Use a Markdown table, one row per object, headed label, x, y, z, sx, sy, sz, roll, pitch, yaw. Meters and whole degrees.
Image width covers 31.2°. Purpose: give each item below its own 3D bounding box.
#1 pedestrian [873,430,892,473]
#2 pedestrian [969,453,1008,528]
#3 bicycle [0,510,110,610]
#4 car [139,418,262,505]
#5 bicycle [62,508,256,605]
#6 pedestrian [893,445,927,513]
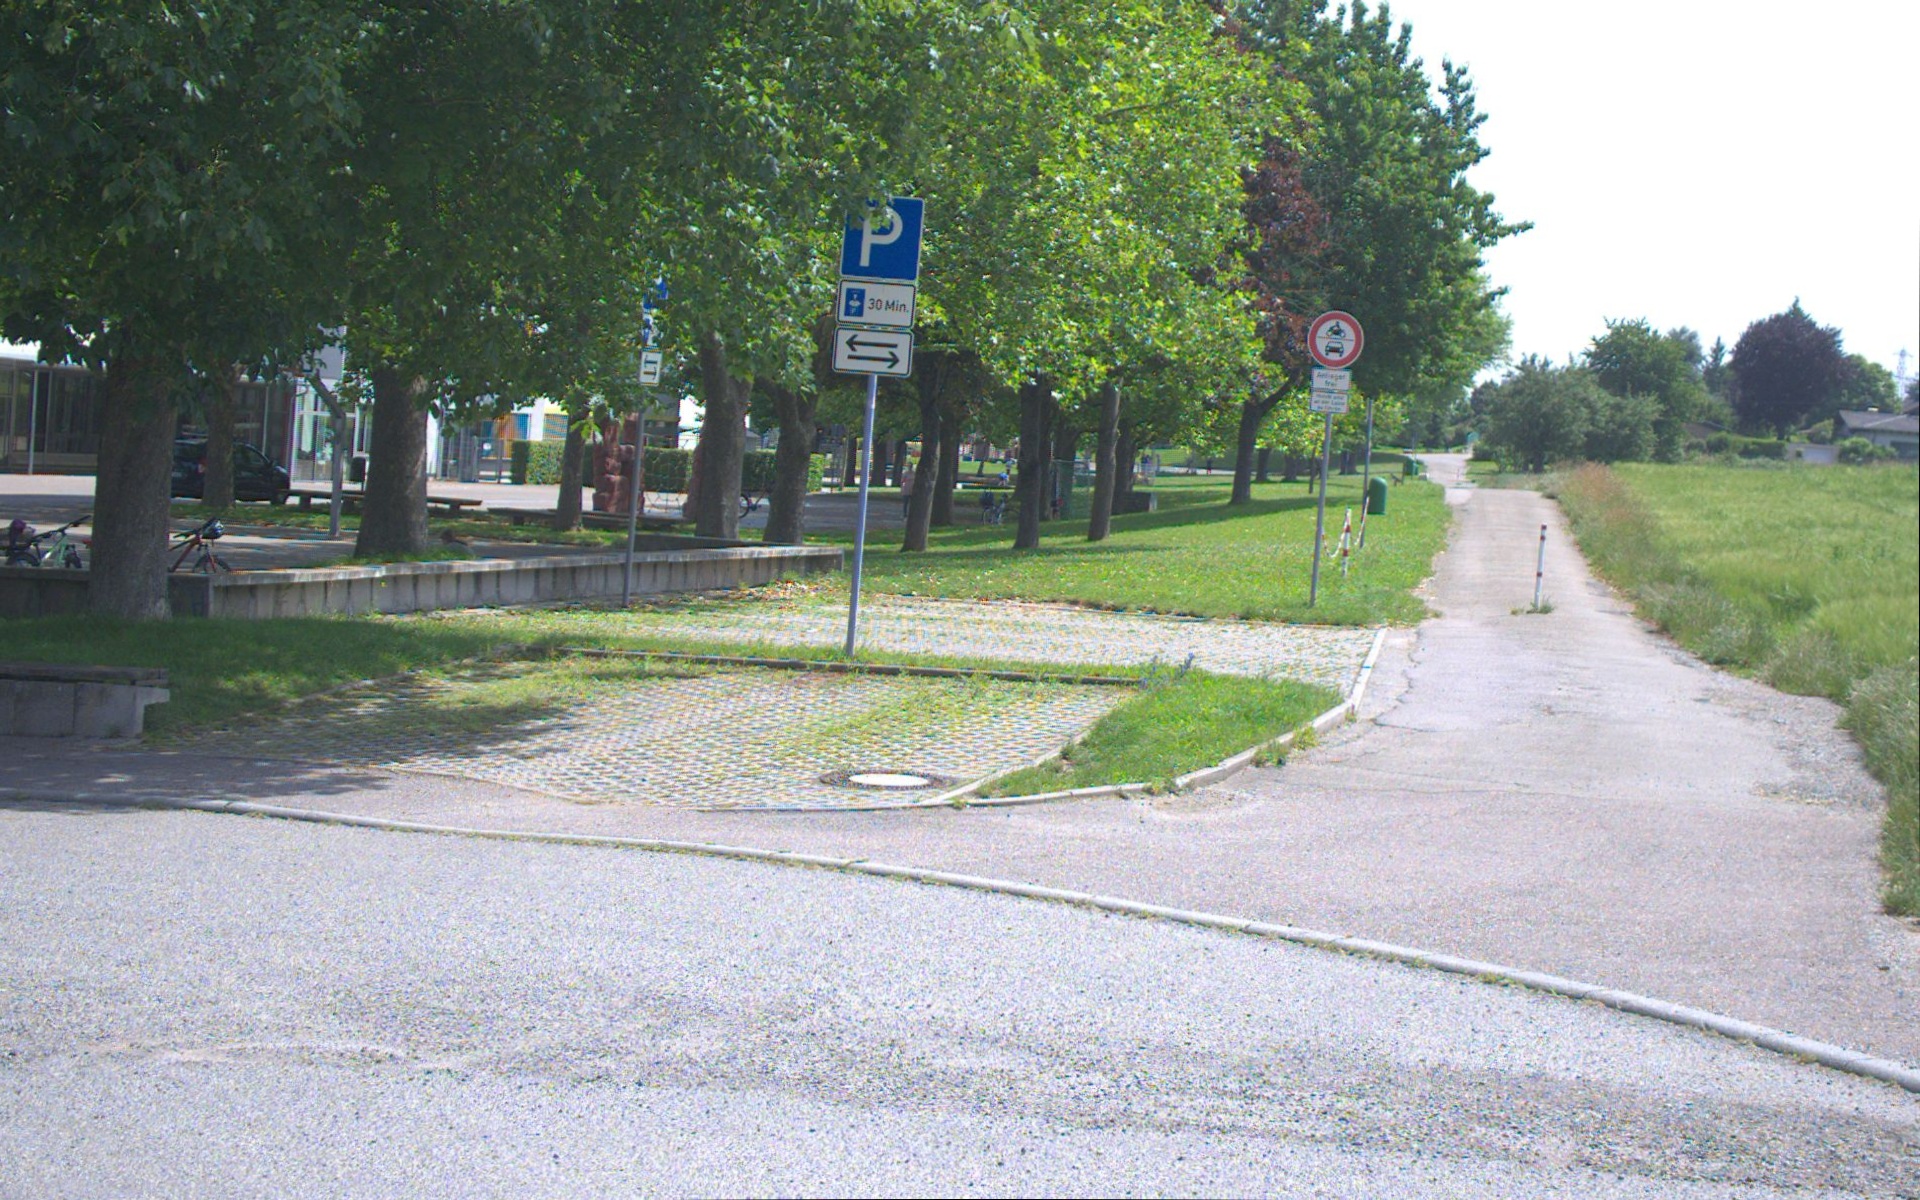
| label | x | y | z | sx | sy | sz | roll | pitch | yaw |
| --- | --- | --- | --- | --- | --- | --- | --- | --- | --- |
| pedestrian | -3.609 | -6.907 | 160.187 | 0.723 | 2.006 | 0.682 | 0 | 2 | 10 |
| pedestrian | 0.787 | -3.042 | 95.442 | 0.682 | 2.006 | 0.803 | 3 | 2 | -25 |
| bicycle | -10.012 | -0.450 | 37.466 | 0.595 | 1.035 | 1.892 | 2 | 2 | 15 |
| car | -17.113 | -3.105 | 77.573 | 1.691 | 1.828 | 3.410 | 3 | 2 | 5 |
| bicycle | -9.165 | -0.502 | 39.378 | 2.062 | 1.035 | 0.572 | 2 | 2 | 0 |
| pedestrian | -1.519 | -3.677 | 104.039 | 0.832 | 2.006 | 0.692 | 3 | 2 | -9 |
